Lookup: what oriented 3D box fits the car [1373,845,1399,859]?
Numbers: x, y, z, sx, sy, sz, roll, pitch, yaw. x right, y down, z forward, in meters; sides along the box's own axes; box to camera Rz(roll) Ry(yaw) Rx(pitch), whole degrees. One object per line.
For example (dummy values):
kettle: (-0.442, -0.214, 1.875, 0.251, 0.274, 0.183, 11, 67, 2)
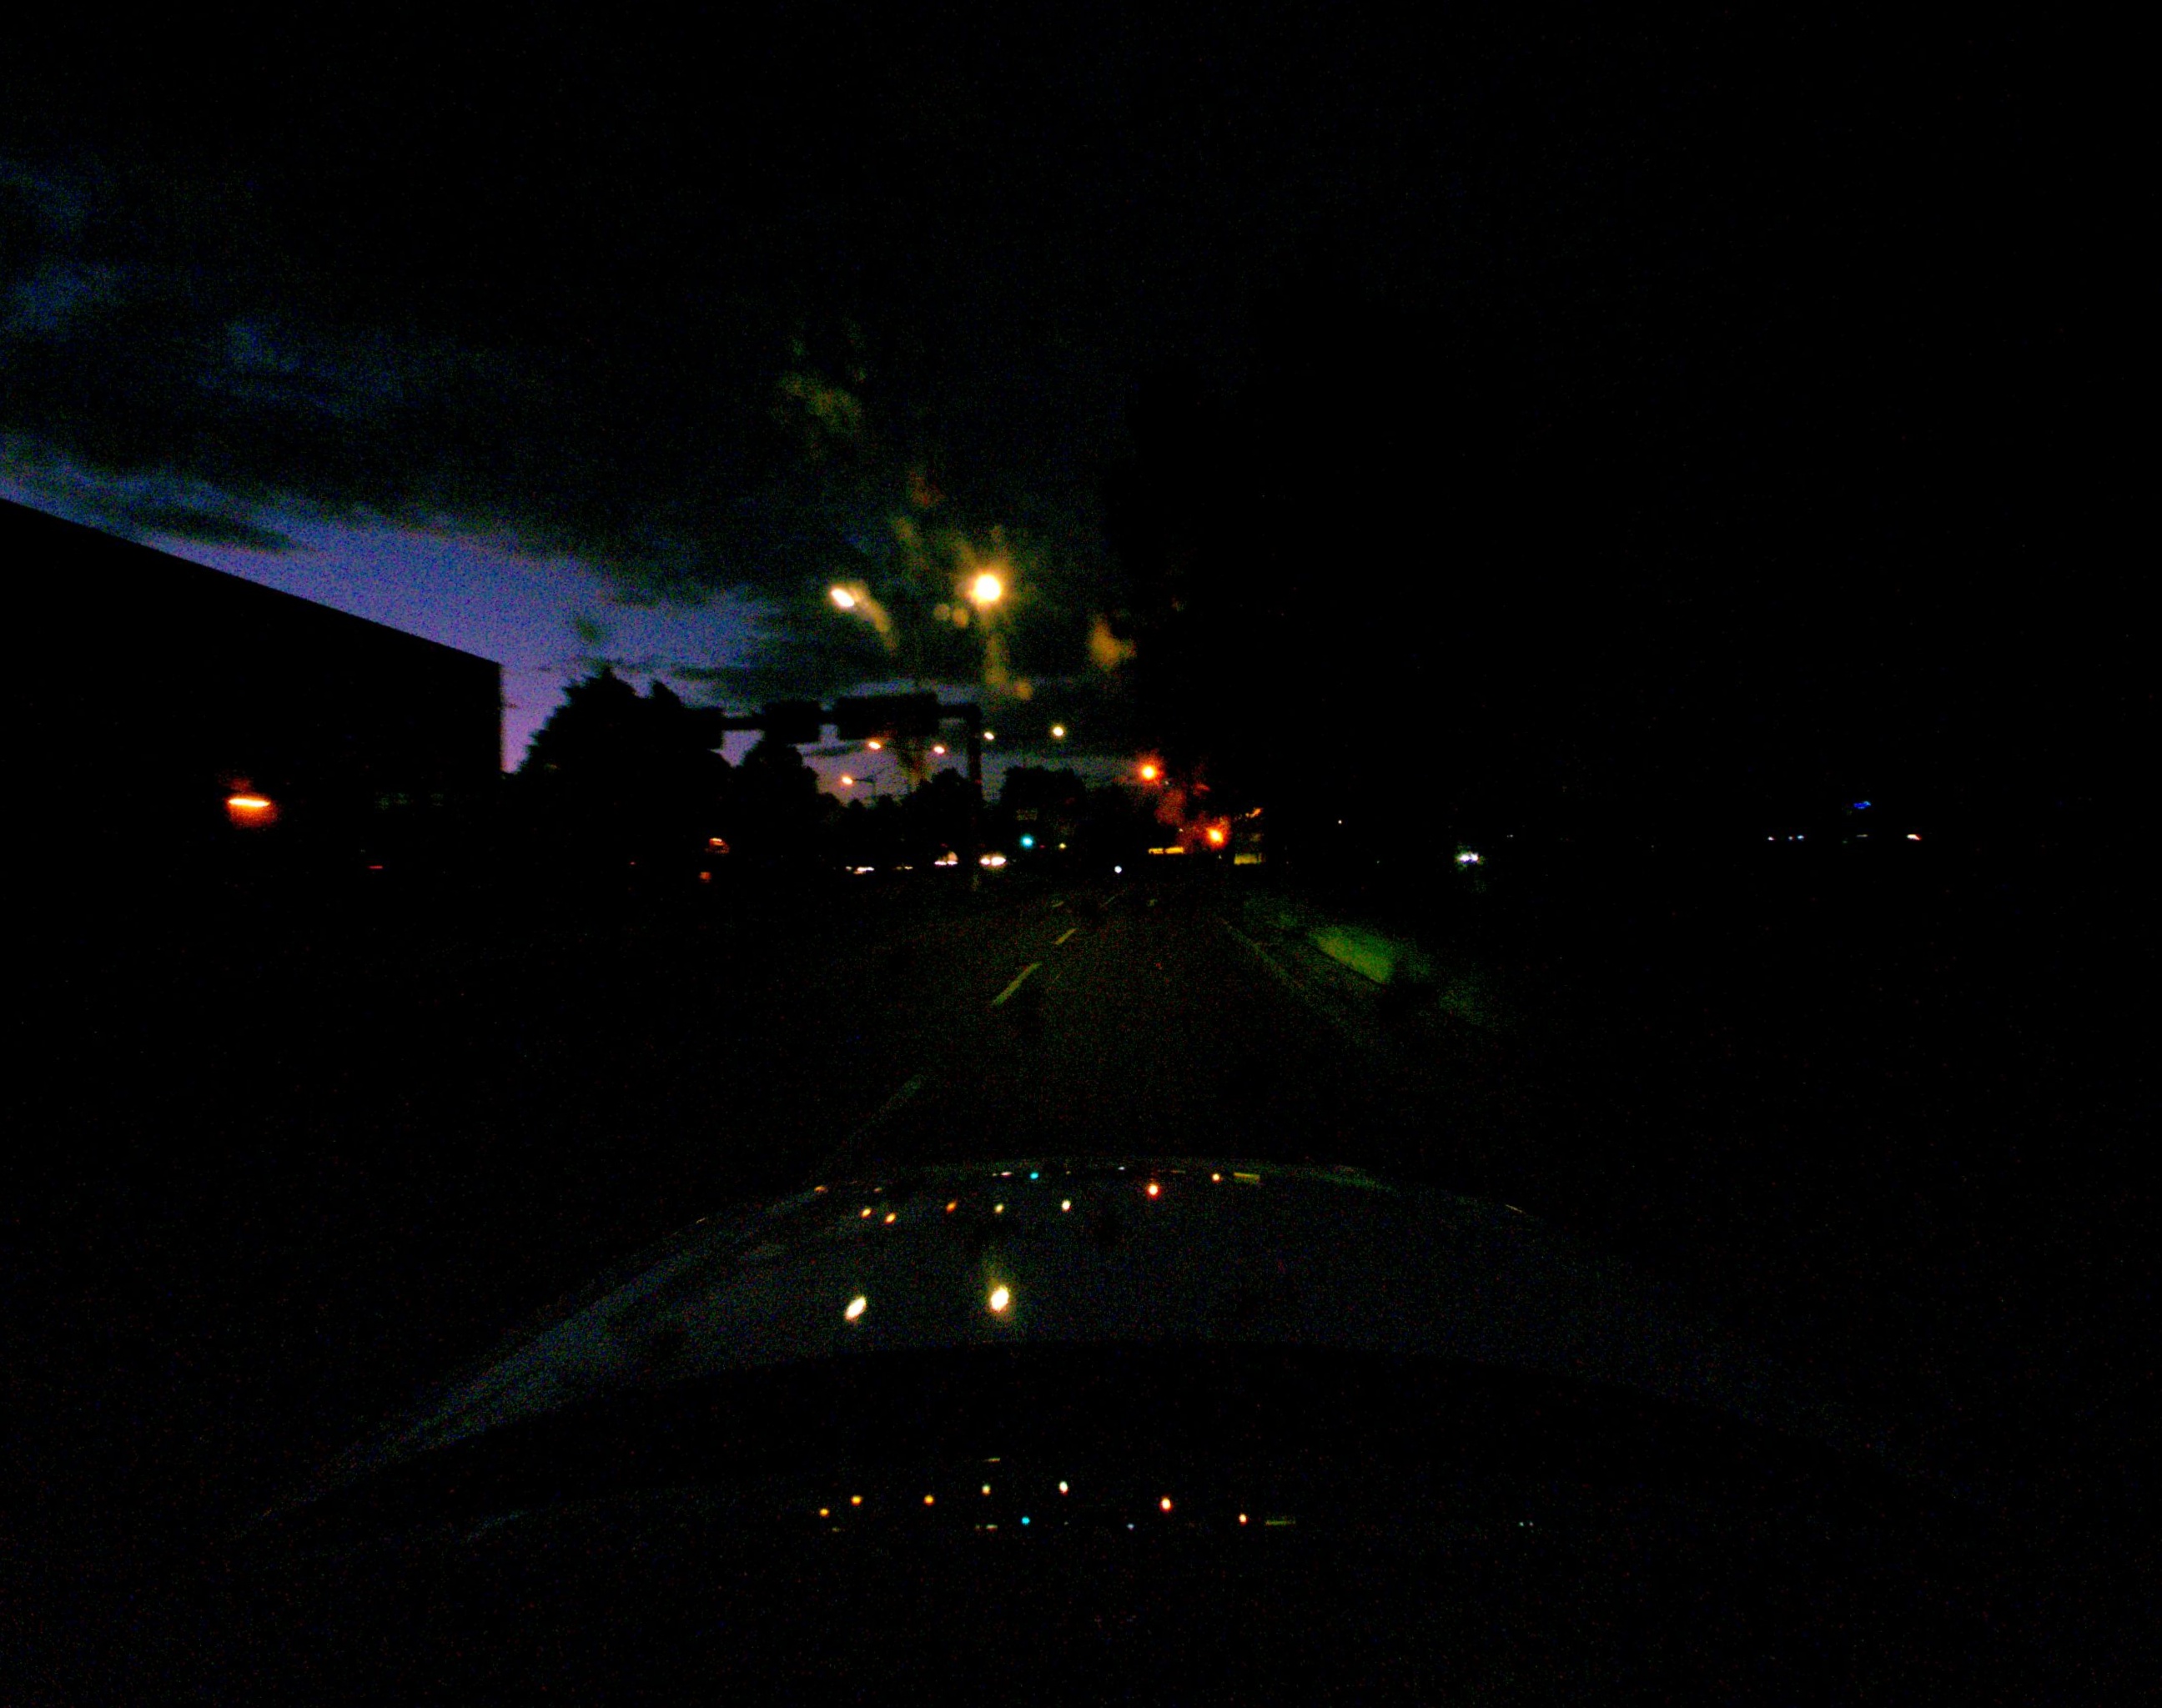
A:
car: (46.742, -0.304, 124.673, 4.020, 2.013, 1.977, -3, 2, -39)
